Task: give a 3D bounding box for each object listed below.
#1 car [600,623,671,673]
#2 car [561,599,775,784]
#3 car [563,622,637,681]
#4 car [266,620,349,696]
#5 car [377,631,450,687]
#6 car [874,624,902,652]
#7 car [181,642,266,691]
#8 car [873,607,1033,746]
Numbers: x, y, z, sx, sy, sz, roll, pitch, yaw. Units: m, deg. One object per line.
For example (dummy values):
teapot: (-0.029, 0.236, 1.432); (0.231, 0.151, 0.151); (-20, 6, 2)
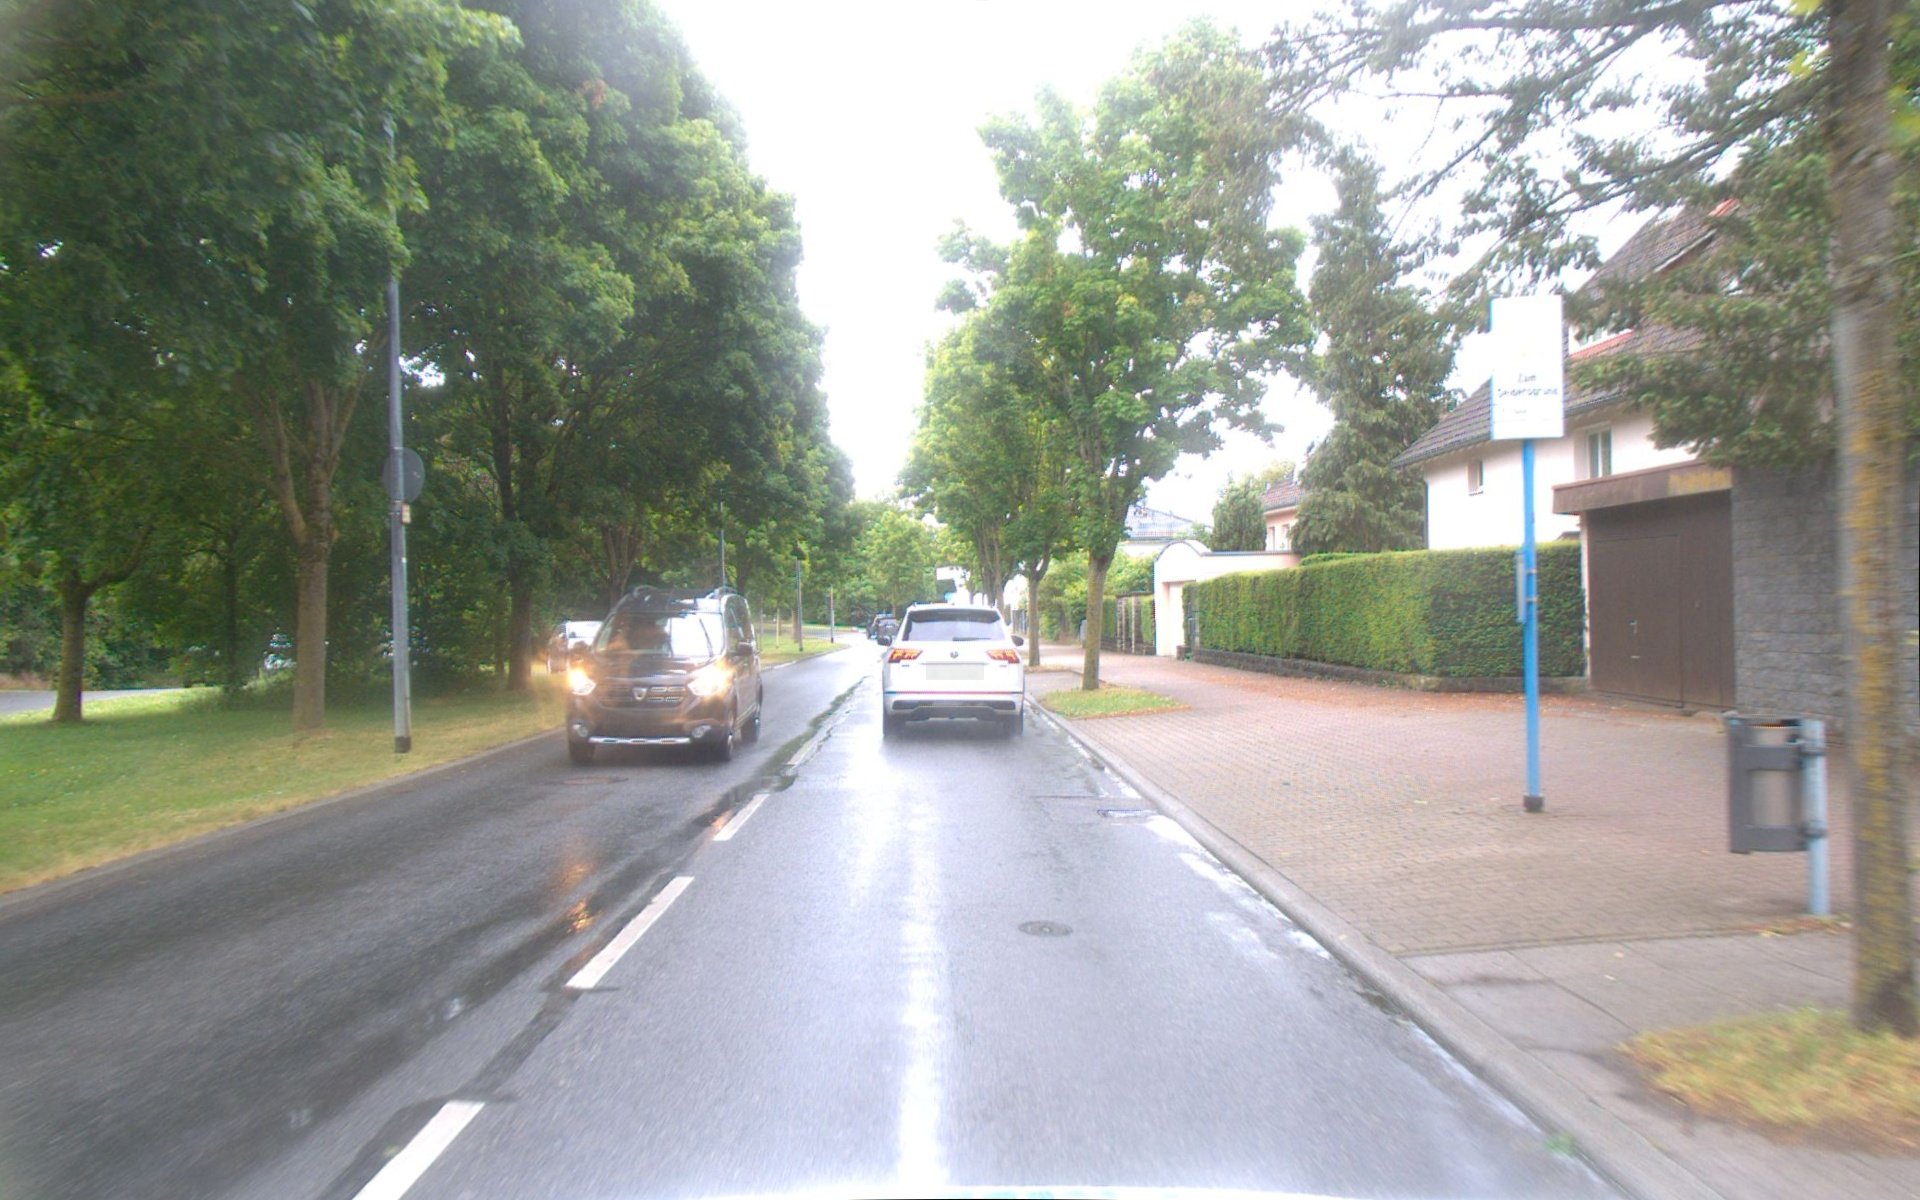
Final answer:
car: (-11.314, 1.624, 57.464); (1.853, 1.455, 4.194); (-2, 2, -19)
car: (-3.143, 0.935, 18.611); (1.740, 1.804, 4.284); (-1, -1, -2)
car: (-10.080, 1.404, 46.122); (1.857, 1.540, 4.233); (-1, -1, -15)
car: (-16.970, 1.548, 43.165); (1.876, 1.801, 4.867); (-2, -3, -21)
car: (-18.061, 1.898, 54.560); (1.838, 1.535, 4.572); (-2, 2, -24)
car: (-5.402, 2.857, 123.591); (1.864, 2.049, 3.938); (1, -1, -6)
car: (-24.134, 2.157, 54.331); (1.803, 1.435, 4.201); (-2, -1, -14)
car: (-0.102, 0.946, 22.098); (1.934, 1.682, 4.176); (0, -1, -1)
